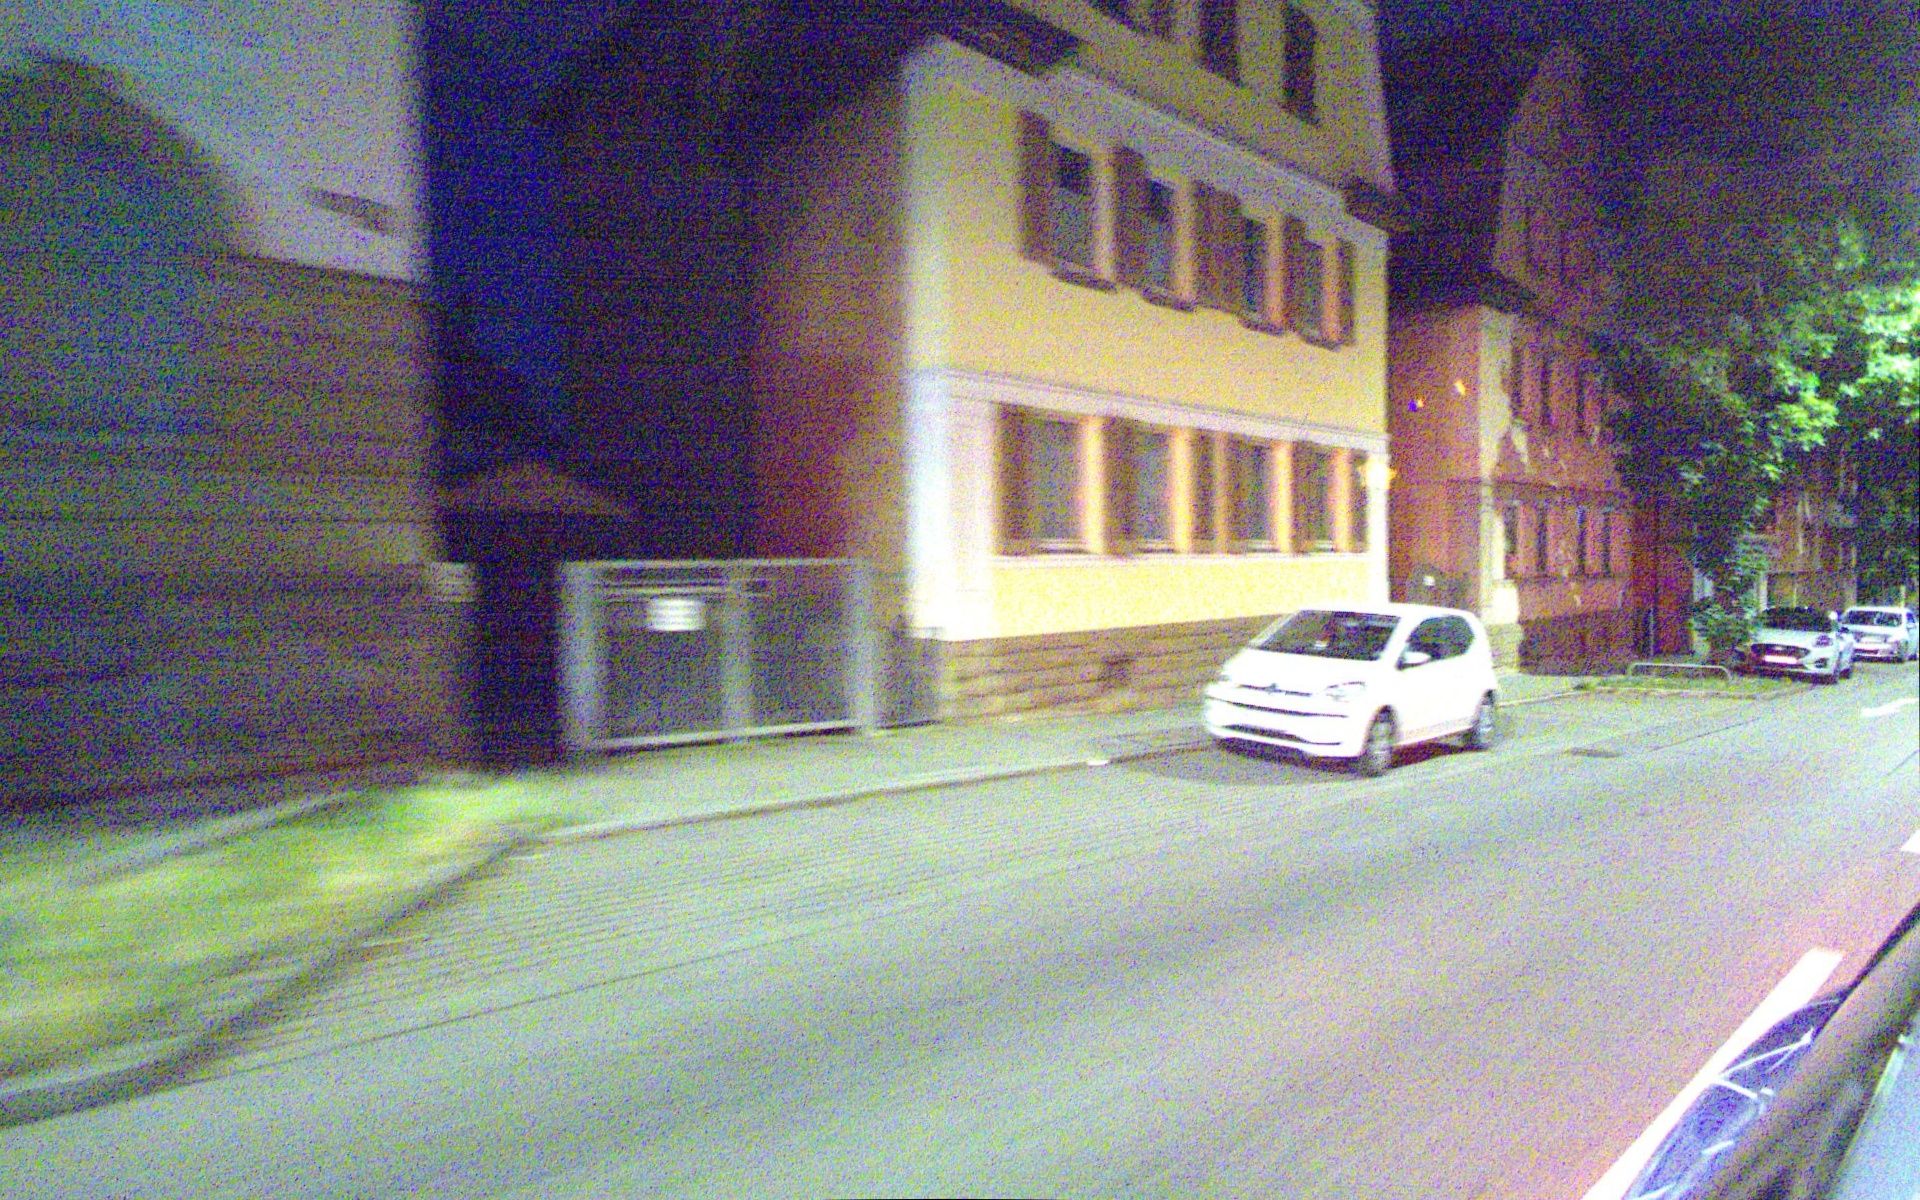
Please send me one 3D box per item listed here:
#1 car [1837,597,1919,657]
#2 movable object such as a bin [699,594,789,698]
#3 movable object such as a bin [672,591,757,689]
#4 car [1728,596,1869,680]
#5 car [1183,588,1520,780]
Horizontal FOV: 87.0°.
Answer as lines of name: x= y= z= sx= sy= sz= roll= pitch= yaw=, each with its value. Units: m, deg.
car: x=28.248 y=0.775 z=30.768 sx=4.281 sy=1.617 sz=1.742 roll=1 pitch=2 yaw=-41
movable object such as a bin: x=-2.311 y=0.474 z=10.812 sx=0.742 sy=1.062 sz=0.608 roll=1 pitch=-1 yaw=-41
movable object such as a bin: x=-2.785 y=0.435 z=11.468 sx=0.742 sy=1.062 sz=0.608 roll=1 pitch=-1 yaw=-41
car: x=18.359 y=0.764 z=22.104 sx=3.977 sy=1.573 sz=1.862 roll=1 pitch=2 yaw=-43
car: x=3.983 y=0.689 z=10.052 sx=3.541 sy=1.503 sz=1.671 roll=1 pitch=2 yaw=-42
